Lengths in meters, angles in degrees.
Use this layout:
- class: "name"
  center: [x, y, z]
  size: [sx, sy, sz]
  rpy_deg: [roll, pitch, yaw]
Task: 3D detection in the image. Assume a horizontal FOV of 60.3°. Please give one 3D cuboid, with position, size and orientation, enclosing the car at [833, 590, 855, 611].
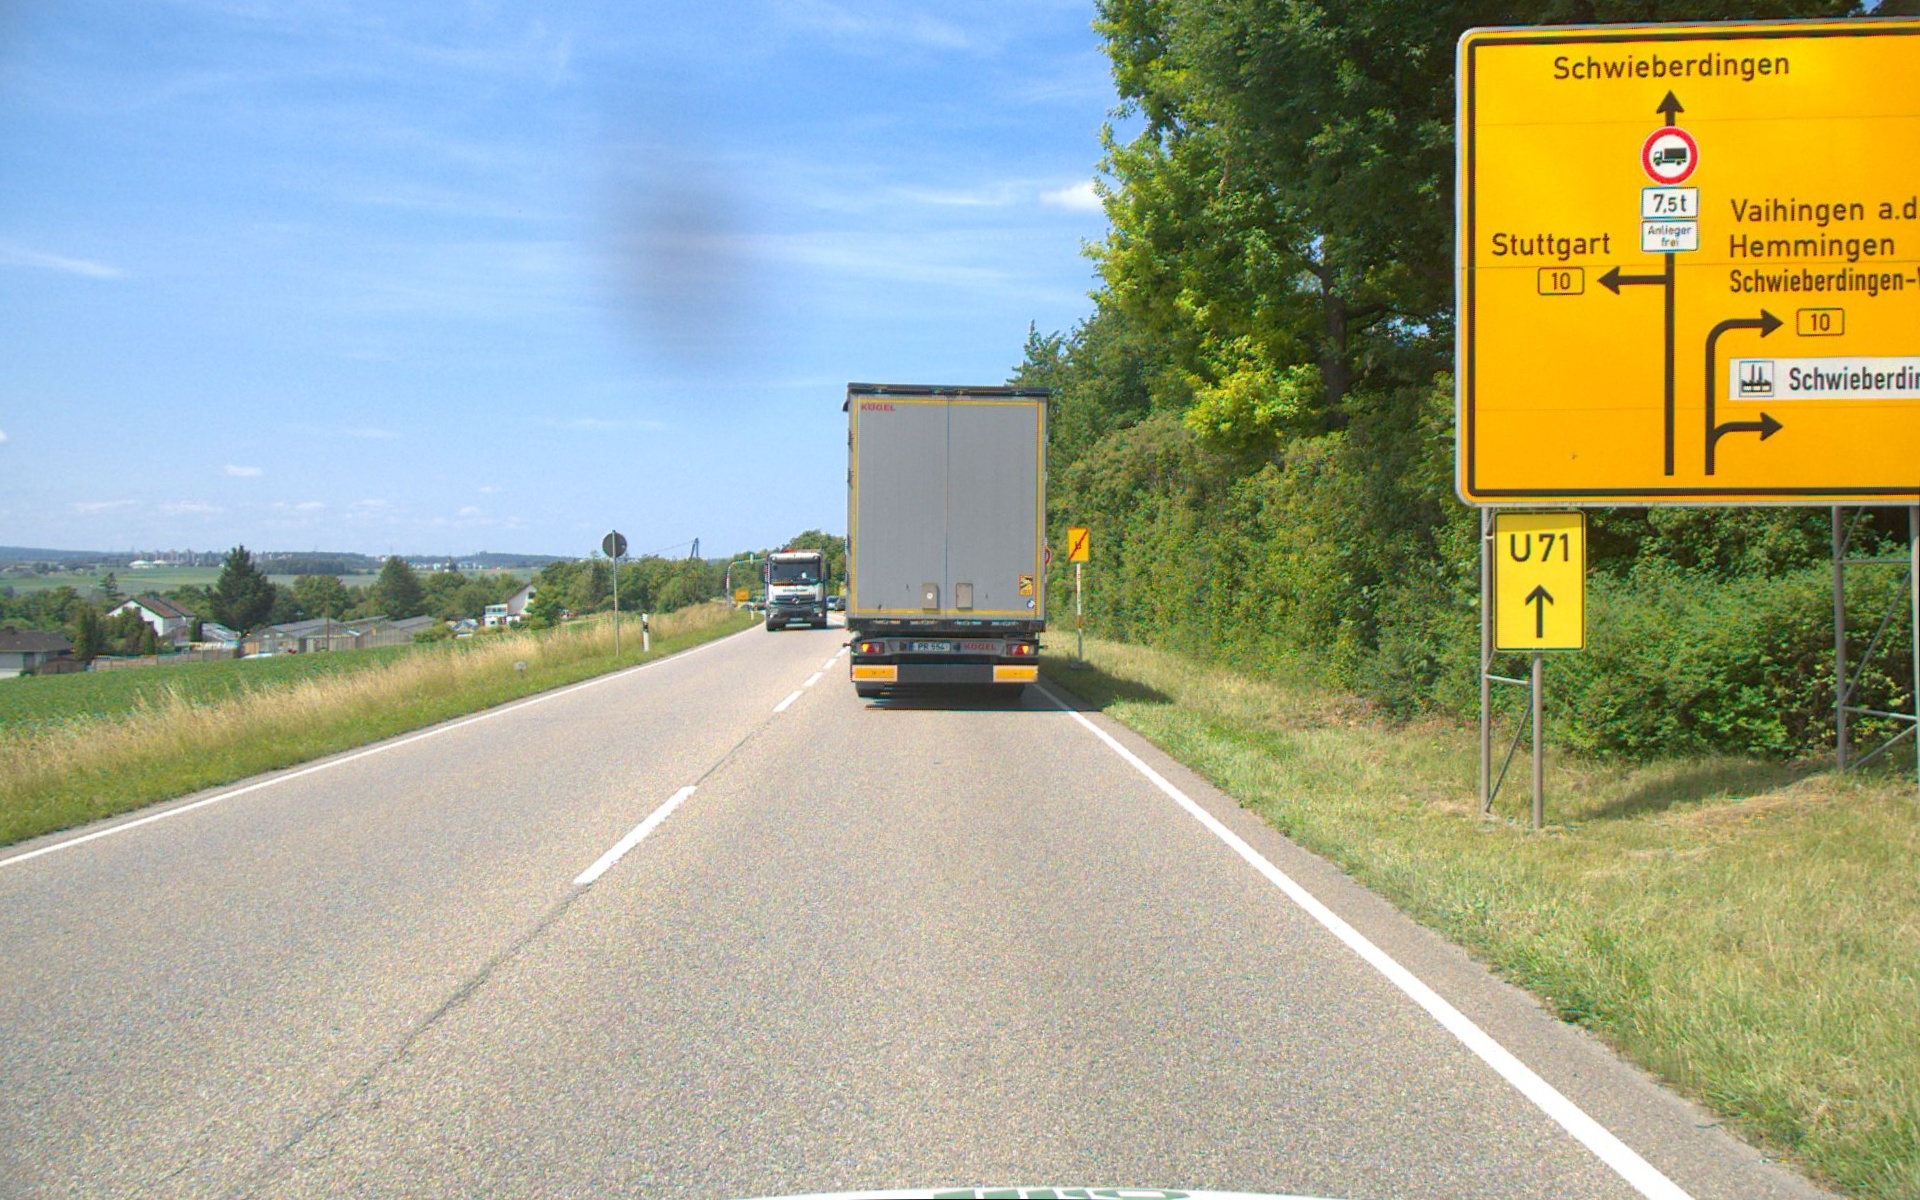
- class: "car"
  center: [-12.513, 0.055, 177.684]
  size: [2.130, 2.048, 4.520]
  rpy_deg: [-3, 0, -6]

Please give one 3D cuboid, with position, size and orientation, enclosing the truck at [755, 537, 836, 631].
- class: "truck"
  center: [-7.017, -0.664, 71.994]
  size: [2.701, 3.638, 11.059]
  rpy_deg: [-3, 0, -2]

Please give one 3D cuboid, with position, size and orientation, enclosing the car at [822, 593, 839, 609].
- class: "car"
  center: [-15.152, 0.126, 193.463]
  size: [1.856, 1.808, 4.380]
  rpy_deg: [-3, 0, -6]

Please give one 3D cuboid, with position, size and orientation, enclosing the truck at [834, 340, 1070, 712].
- class: "truck"
  center: [-0.377, -0.911, 24.497]
  size: [2.850, 4.487, 8.853]
  rpy_deg: [0, 0, -4]
